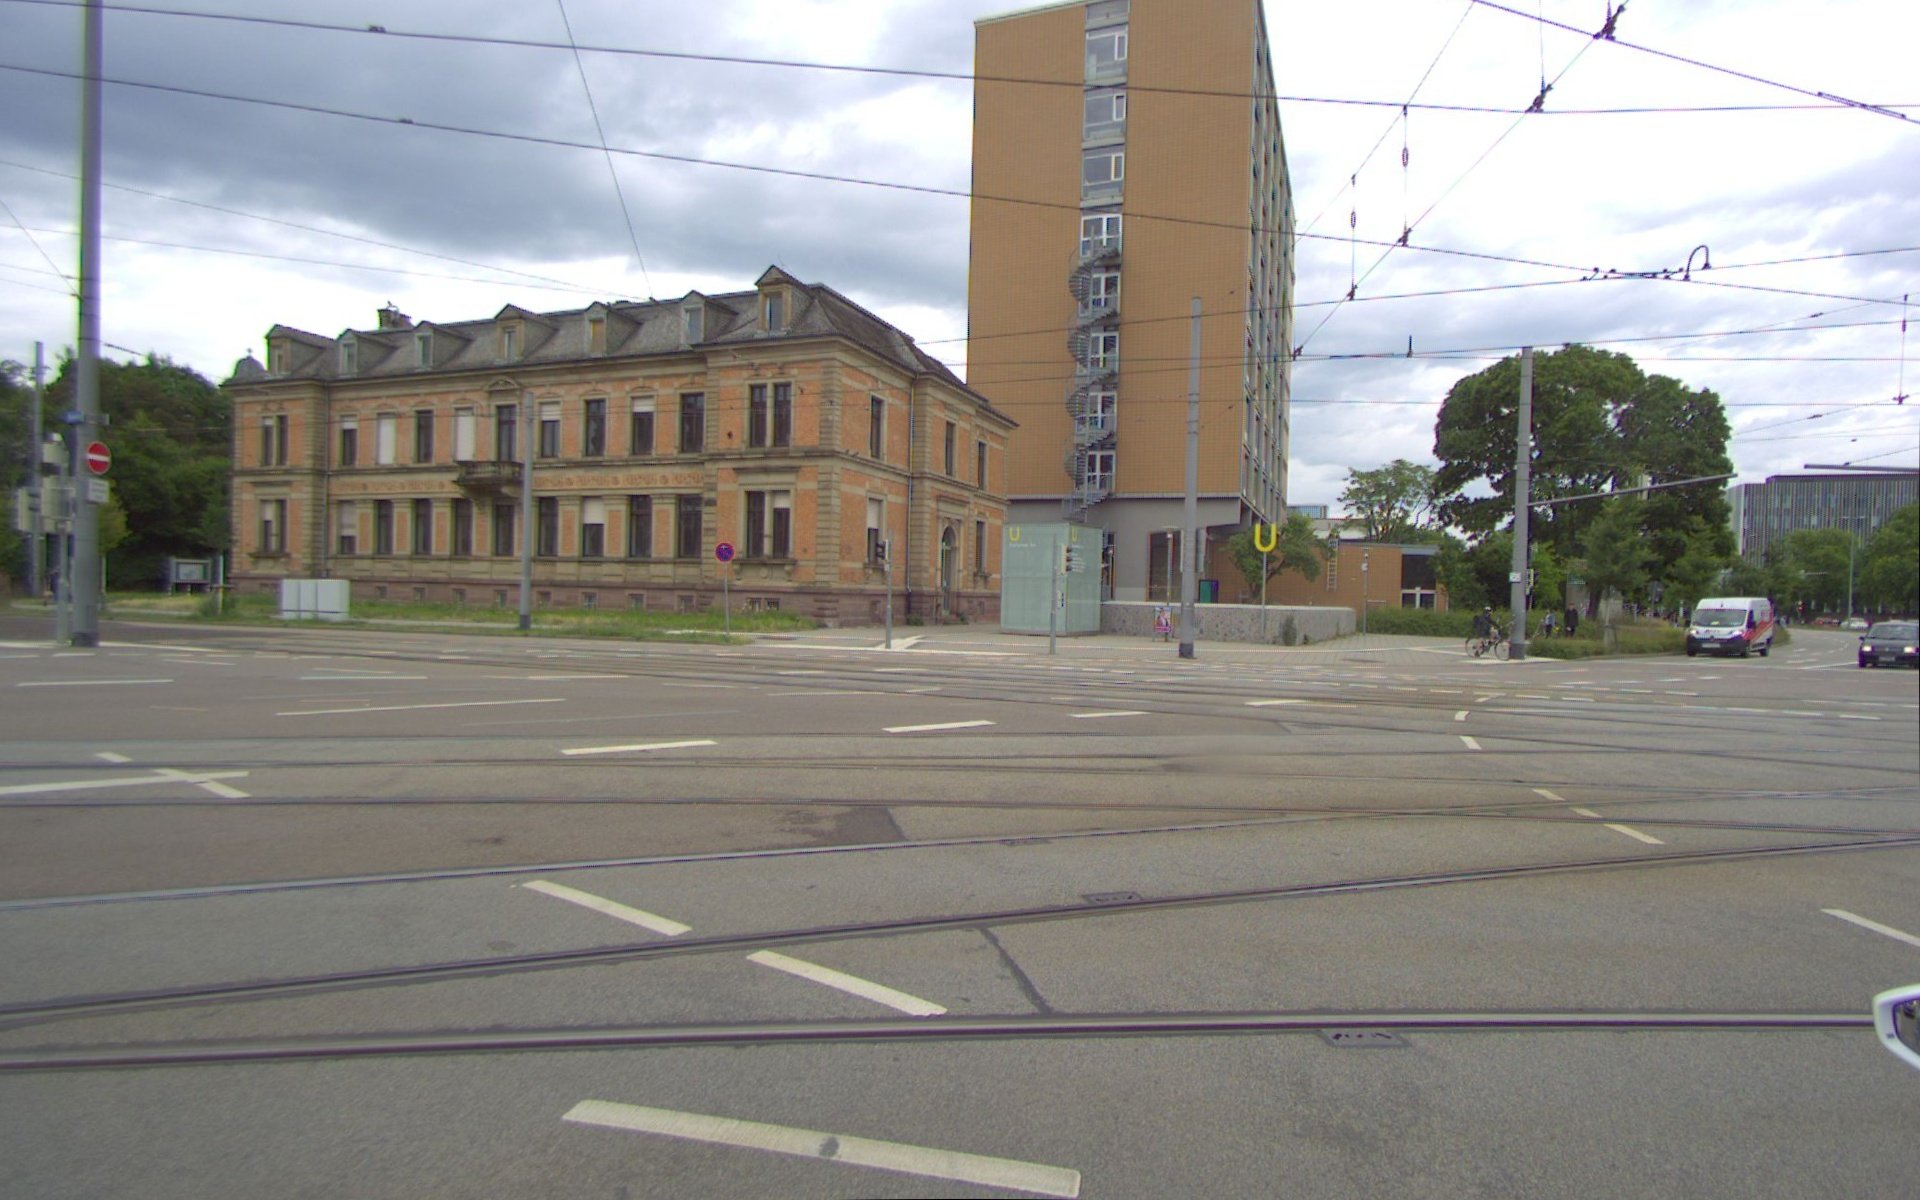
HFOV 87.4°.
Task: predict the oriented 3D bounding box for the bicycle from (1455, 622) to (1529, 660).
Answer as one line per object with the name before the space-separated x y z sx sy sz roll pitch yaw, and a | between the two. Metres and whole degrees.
bicycle | 18.707 1.431 35.382 0.786 1.042 2.101 2 5 -32

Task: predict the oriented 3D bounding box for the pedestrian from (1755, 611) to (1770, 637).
pedestrian | 56.915 1.690 71.239 0.749 1.867 0.761 1 0 45

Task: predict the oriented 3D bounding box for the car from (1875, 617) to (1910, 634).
car | 105.280 2.892 113.447 1.964 1.773 3.993 2 0 29

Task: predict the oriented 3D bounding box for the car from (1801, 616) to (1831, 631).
car | 108.335 2.935 127.121 1.964 1.704 4.005 2 0 27

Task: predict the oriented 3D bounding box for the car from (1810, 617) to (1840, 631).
car | 114.577 3.125 133.077 1.962 1.773 3.997 1 0 24

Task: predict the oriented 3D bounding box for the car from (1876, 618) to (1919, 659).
car | 37.084 1.475 38.943 4.445 1.528 1.854 1 -2 -42

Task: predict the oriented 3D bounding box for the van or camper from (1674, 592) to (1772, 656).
van or camper | 32.519 0.991 42.748 5.530 2.561 2.259 1 0 -42

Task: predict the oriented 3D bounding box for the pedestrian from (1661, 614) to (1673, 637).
pedestrian | 48.650 1.739 69.104 0.555 1.562 0.751 3 1 44

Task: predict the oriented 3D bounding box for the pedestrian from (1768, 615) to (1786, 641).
pedestrian | 59.306 2.033 72.935 0.663 1.867 0.884 1 1 -45

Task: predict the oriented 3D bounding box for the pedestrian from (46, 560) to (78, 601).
pedestrian | -41.211 -0.898 46.097 0.833 1.857 0.809 2 1 24

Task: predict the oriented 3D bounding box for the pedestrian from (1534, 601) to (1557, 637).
pedestrian | 29.155 0.948 50.018 0.679 1.757 0.741 1 1 -37

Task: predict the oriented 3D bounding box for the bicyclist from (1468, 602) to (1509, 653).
bicyclist | 18.649 0.961 35.463 0.785 1.679 0.808 0 9 -33

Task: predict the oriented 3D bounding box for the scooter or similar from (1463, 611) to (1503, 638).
scooter or similar | 26.916 1.249 51.698 1.747 1.320 0.628 2 1 37

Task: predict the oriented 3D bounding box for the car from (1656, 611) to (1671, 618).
car | 134.852 2.811 192.675 1.684 1.282 3.338 3 0 24

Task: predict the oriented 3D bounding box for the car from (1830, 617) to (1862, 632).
car | 103.277 2.871 117.094 1.964 1.662 3.993 2 0 29

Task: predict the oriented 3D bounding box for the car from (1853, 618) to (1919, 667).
car | 31.648 1.420 34.089 3.637 1.535 1.604 1 0 -42

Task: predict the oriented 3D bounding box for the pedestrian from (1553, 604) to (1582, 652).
pedestrian | 25.677 1.174 42.462 0.652 2.007 0.813 1 1 -37

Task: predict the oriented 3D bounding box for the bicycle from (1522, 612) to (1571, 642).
bicycle | 29.973 1.400 51.318 2.218 1.468 0.846 1 1 -18
